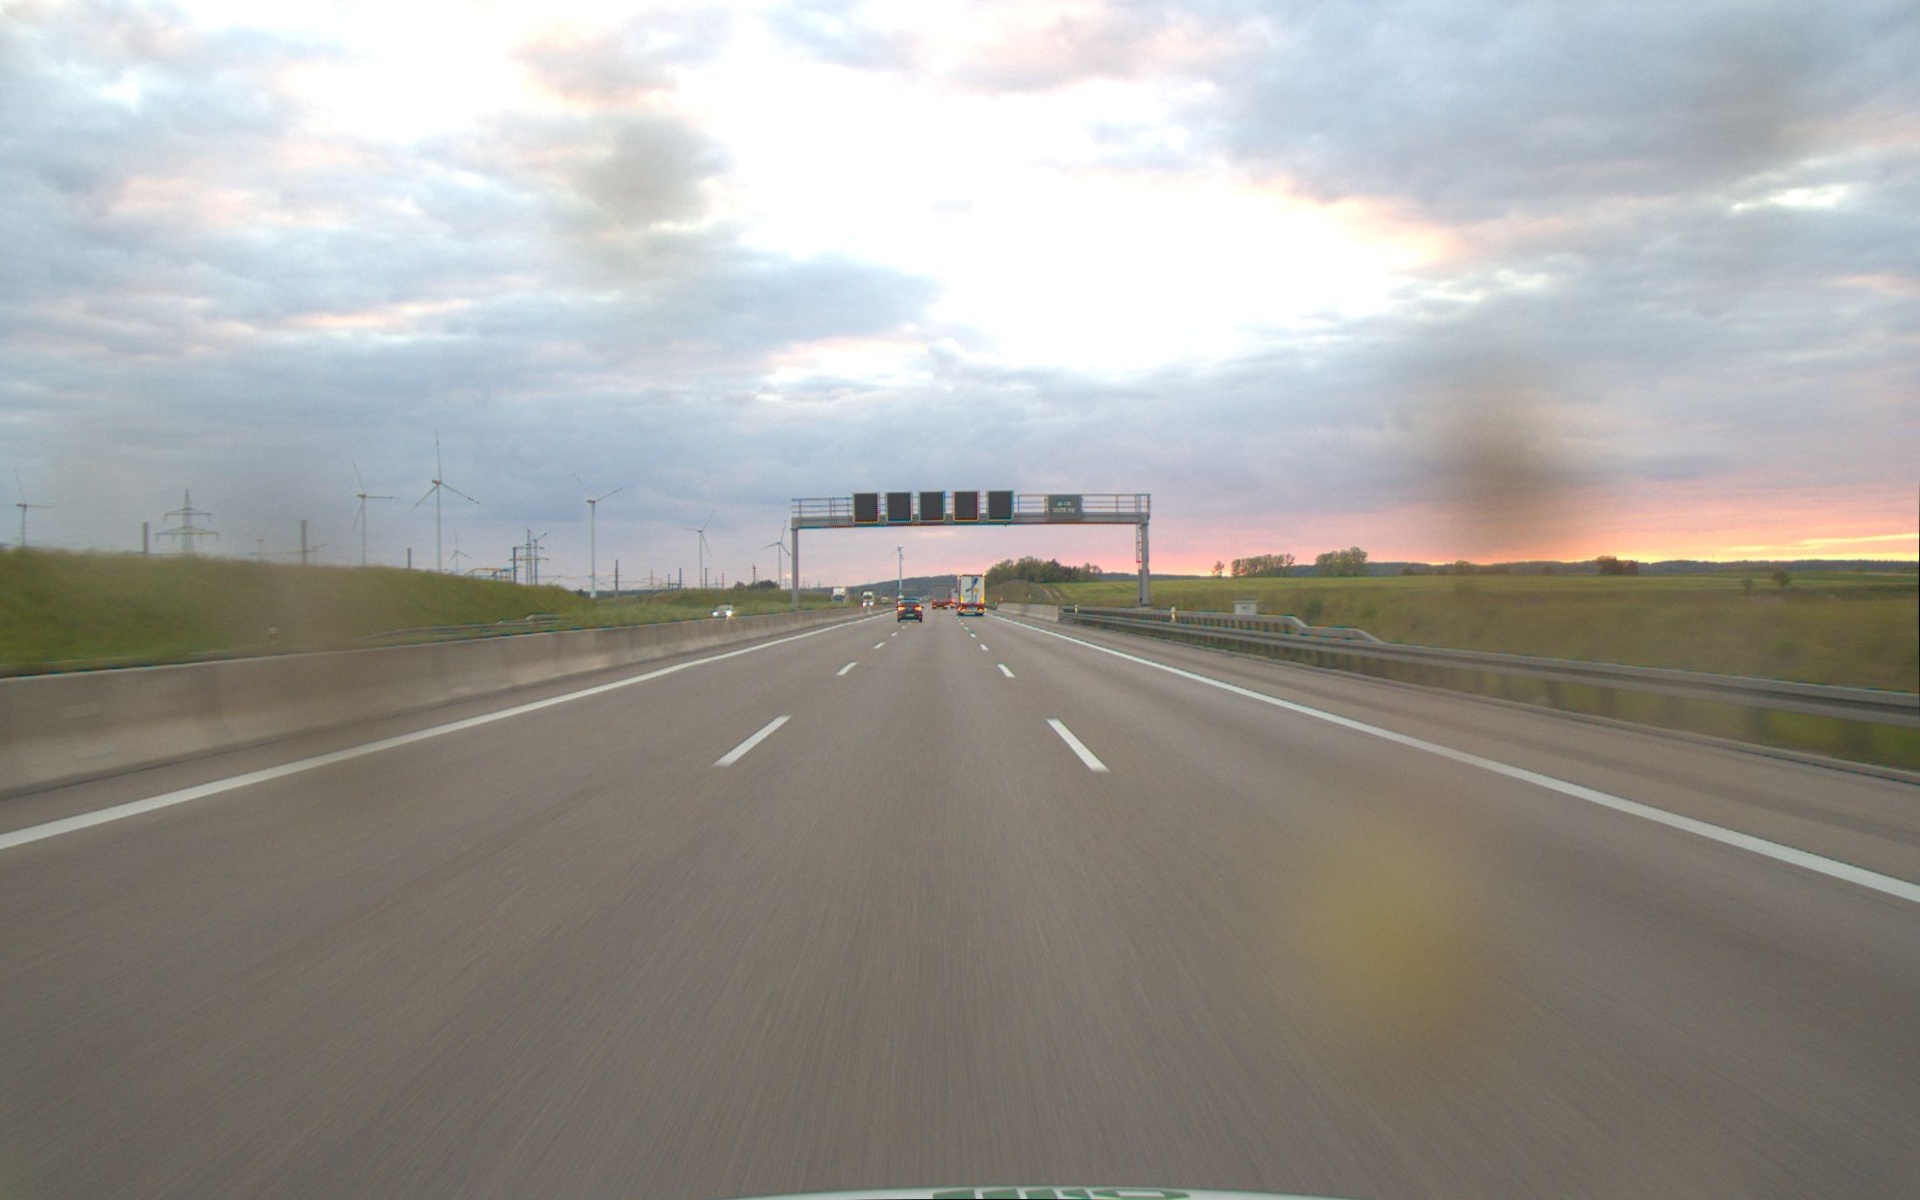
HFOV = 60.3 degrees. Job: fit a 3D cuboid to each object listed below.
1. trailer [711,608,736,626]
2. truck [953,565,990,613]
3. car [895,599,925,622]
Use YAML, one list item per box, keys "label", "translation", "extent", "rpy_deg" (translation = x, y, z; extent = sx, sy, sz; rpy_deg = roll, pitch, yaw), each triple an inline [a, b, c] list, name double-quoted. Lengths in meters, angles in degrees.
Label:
- label: "trailer"
  translation: [-21.163, 1.496, 148.059]
  extent: [1.682, 1.489, 4.000]
  rpy_deg: [-1, 0, 0]
- label: "truck"
  translation: [1.106, -1.110, 166.993]
  extent: [3.600, 4.644, 10.980]
  rpy_deg: [0, 0, 0]
- label: "car"
  translation: [-3.431, 0.700, 113.072]
  extent: [1.947, 1.454, 4.000]
  rpy_deg: [-1, 1, -1]
